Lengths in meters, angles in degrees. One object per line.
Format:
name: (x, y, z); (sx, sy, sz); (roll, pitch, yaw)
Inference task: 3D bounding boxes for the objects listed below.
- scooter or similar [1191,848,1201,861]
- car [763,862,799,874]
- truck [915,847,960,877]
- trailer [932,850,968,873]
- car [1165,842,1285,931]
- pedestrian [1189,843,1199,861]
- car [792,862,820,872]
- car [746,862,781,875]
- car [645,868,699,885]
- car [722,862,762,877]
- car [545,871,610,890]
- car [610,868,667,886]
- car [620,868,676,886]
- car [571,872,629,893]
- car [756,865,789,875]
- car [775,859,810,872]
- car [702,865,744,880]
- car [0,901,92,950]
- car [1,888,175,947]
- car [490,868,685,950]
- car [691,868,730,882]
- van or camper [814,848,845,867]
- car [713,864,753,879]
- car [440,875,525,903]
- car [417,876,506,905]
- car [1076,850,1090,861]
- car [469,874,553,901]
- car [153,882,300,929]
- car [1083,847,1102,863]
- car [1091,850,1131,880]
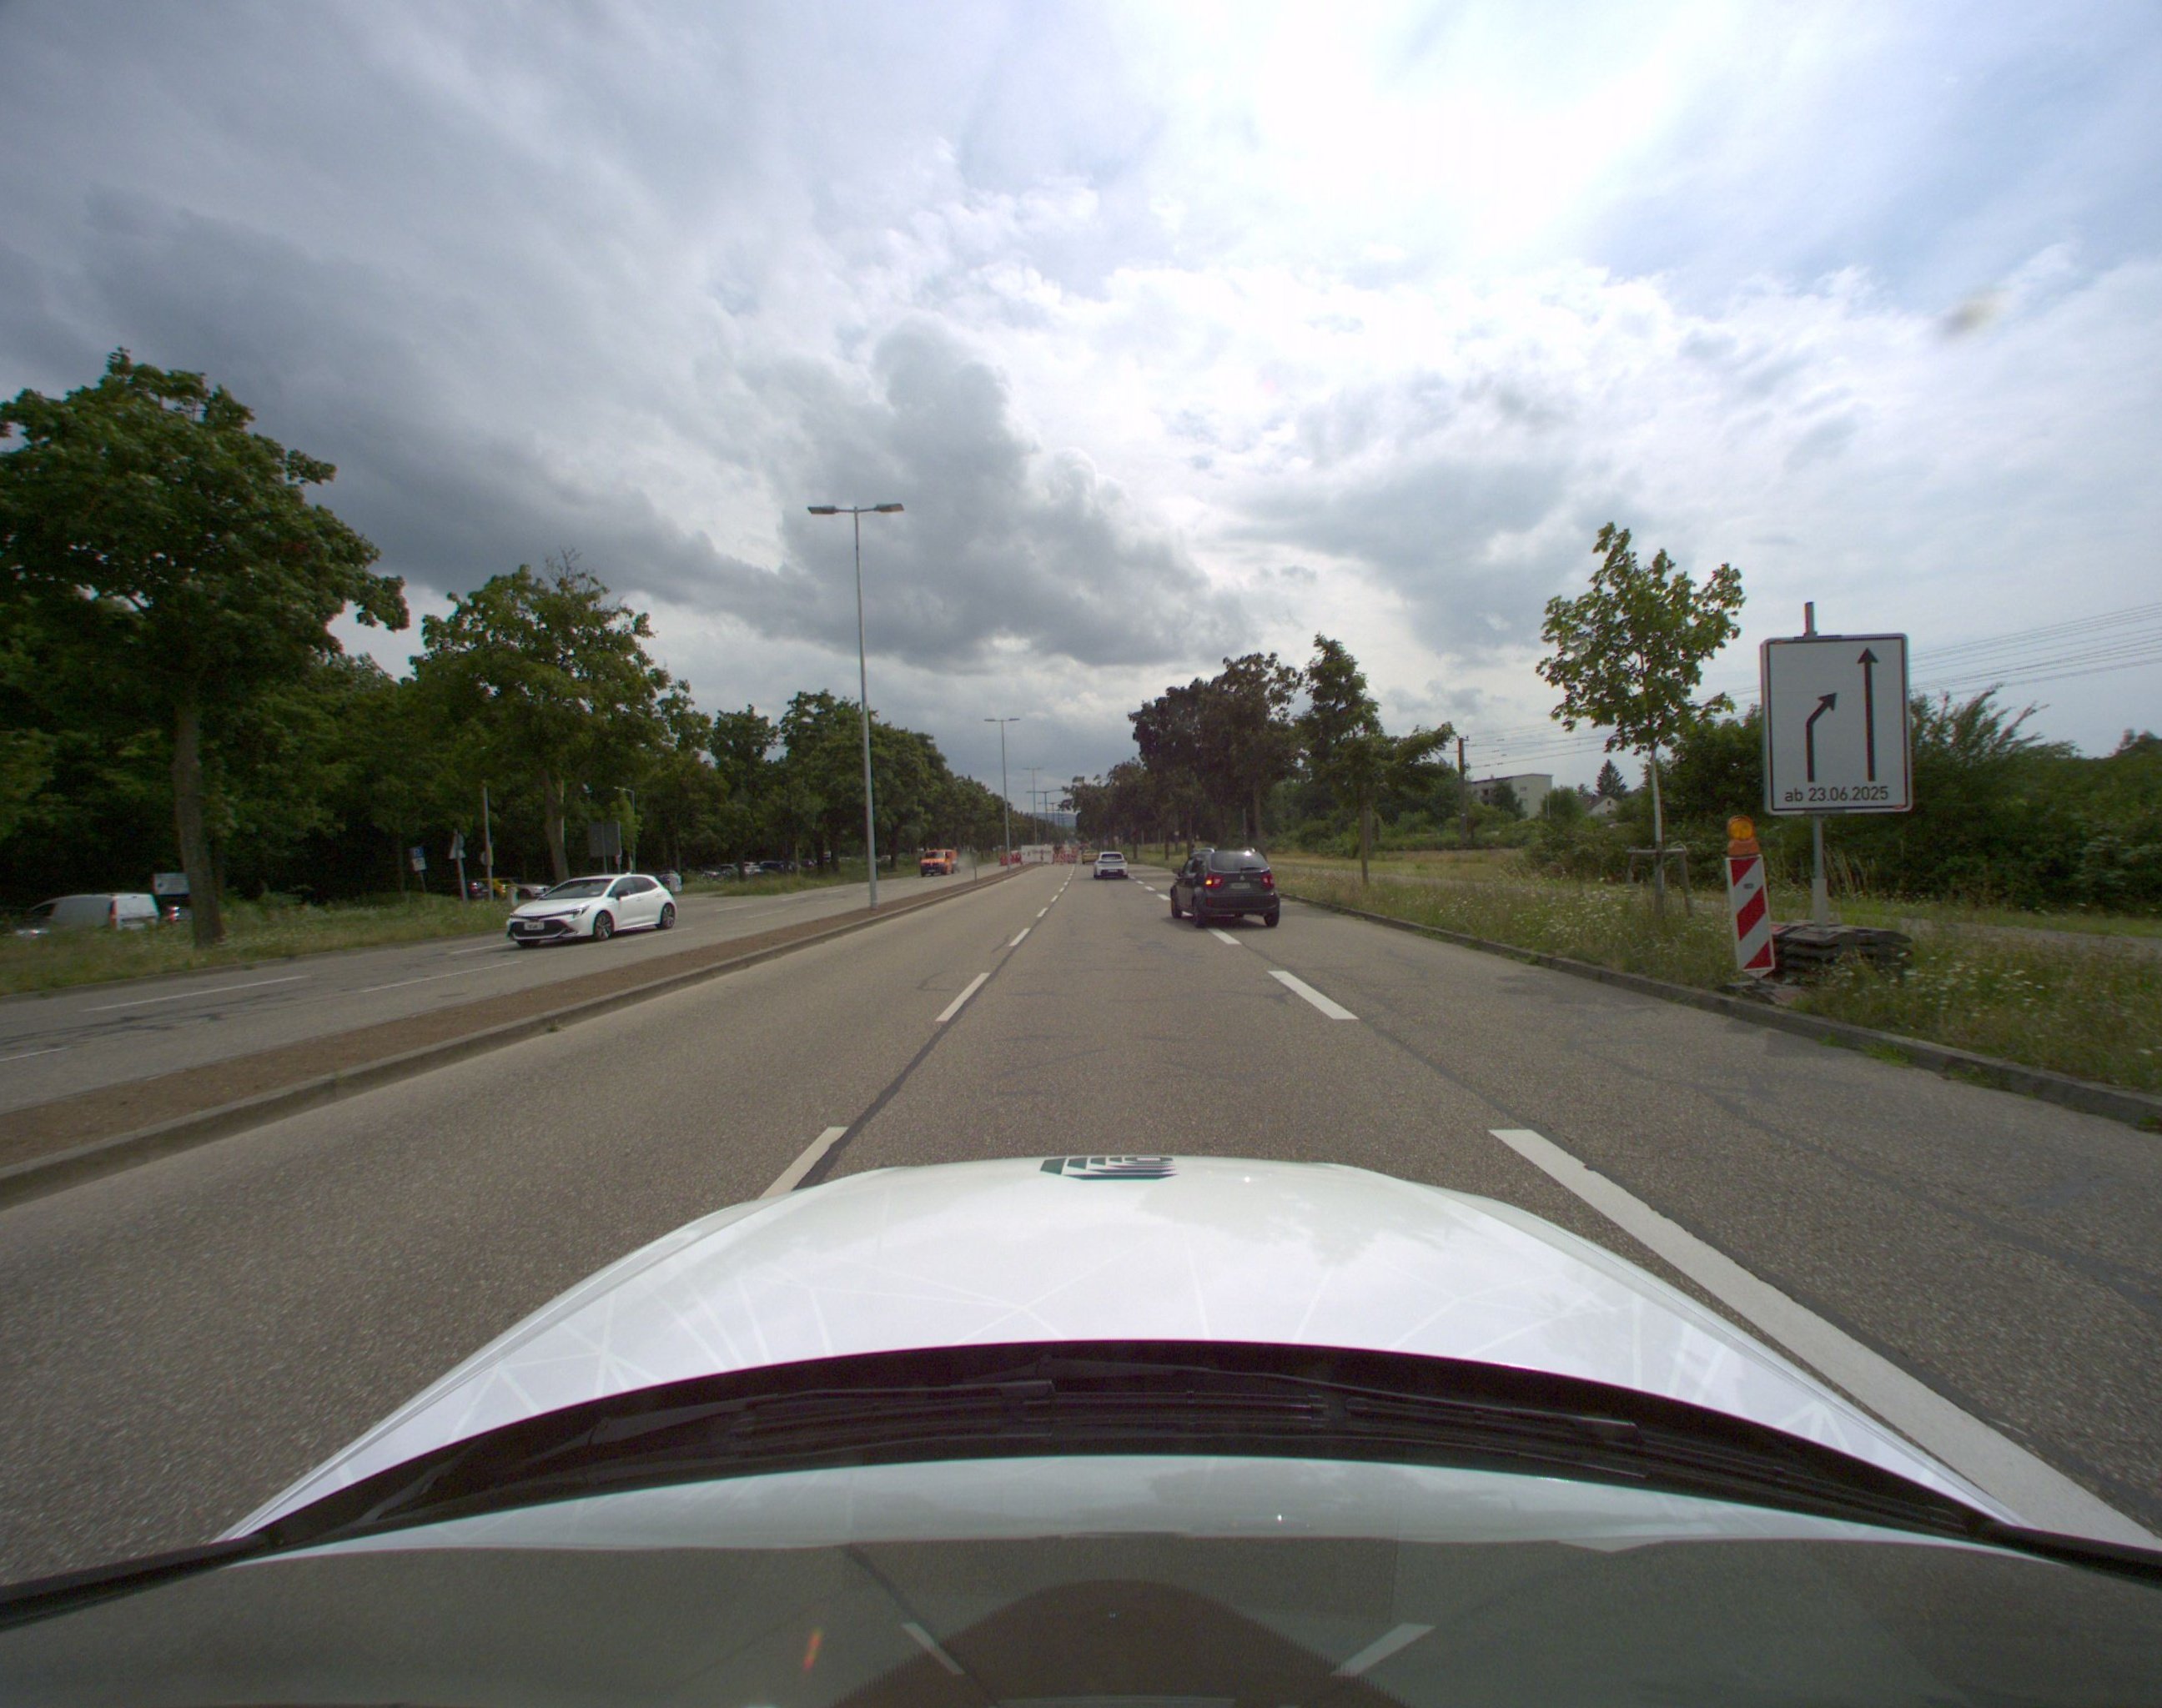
scooter or similar: (10.819, 0.031, 76.430); (0.680, 1.130, 0.932); (-2, 1, -4)
car: (-37.543, 1.735, 102.030); (3.717, 1.409, 2.001); (-2, 1, 1)
truck: (-10.861, 0.533, 61.993); (2.081, 1.994, 6.041); (-3, 1, 1)
trailer: (-10.710, 0.618, 66.791); (2.054, 1.689, 3.897); (-3, 0, 2)
car: (2.972, 0.597, 17.569); (1.699, 1.668, 3.996); (-1, 0, -3)
pedestrian: (10.746, -0.197, 77.361); (0.689, 1.695, 0.932); (-2, 0, -4)
car: (-37.371, 1.712, 110.664); (3.354, 1.232, 1.442); (-2, 1, 1)
car: (-37.558, 1.726, 96.441); (3.535, 1.411, 1.323); (-2, 1, 2)
car: (-38.050, 2.076, 75.807); (3.968, 1.410, 2.003); (-2, 1, 5)
car: (-37.881, 1.698, 91.101); (3.634, 1.519, 1.884); (-2, 1, 2)
car: (-38.357, 1.982, 62.105); (3.973, 1.259, 1.564); (-2, 1, 1)
car: (-38.409, 1.967, 70.690); (3.971, 1.360, 1.668); (-2, 1, 2)
car: (-38.633, 2.036, 72.783); (3.971, 1.360, 1.824); (-2, 1, 2)
car: (-38.071, 2.251, 64.482); (3.634, 1.411, 1.518); (-2, 1, 2)
car: (-37.331, 1.898, 98.585); (3.354, 1.094, 1.442); (-2, 1, 1)
car: (-38.020, 1.502, 107.453); (3.757, 1.425, 1.967); (-2, 1, 2)
car: (-37.811, 1.959, 86.071); (3.634, 1.411, 1.518); (-2, 1, 2)
car: (-37.025, 2.479, 27.914); (3.973, 1.486, 1.797); (-2, 1, 0)
car: (-36.720, 2.312, 30.198); (3.973, 1.887, 1.939); (-2, 1, 0)
car: (-11.047, 1.162, 18.625); (1.710, 1.420, 4.162); (-4, 1, 2)
car: (-37.803, 2.144, 83.085); (3.281, 1.206, 1.518); (-2, 1, 2)
van or camper: (-38.279, 0.498, 123.869); (3.974, 2.756, 1.927); (-2, 1, 0)
car: (-37.799, 1.927, 88.553); (3.634, 1.411, 1.518); (-2, 1, 2)
car: (-37.601, 2.186, 51.235); (3.971, 1.498, 1.786); (-2, 1, 2)
car: (-37.550, 2.197, 49.418); (3.971, 1.498, 1.786); (-2, 1, 2)
car: (0.257, 0.141, 102.729); (1.661, 1.269, 4.002); (-2, 1, 2)
car: (-37.416, 2.188, 53.557); (4.164, 1.498, 1.886); (-2, 1, 2)
car: (-36.263, 2.162, 34.649); (3.973, 1.713, 2.046); (-2, 1, 0)
car: (1.212, 0.072, 83.458); (1.786, 1.562, 4.002); (-2, 1, 2)
car: (1.563, 0.550, 43.824); (1.762, 1.464, 3.996); (-2, 1, -3)
